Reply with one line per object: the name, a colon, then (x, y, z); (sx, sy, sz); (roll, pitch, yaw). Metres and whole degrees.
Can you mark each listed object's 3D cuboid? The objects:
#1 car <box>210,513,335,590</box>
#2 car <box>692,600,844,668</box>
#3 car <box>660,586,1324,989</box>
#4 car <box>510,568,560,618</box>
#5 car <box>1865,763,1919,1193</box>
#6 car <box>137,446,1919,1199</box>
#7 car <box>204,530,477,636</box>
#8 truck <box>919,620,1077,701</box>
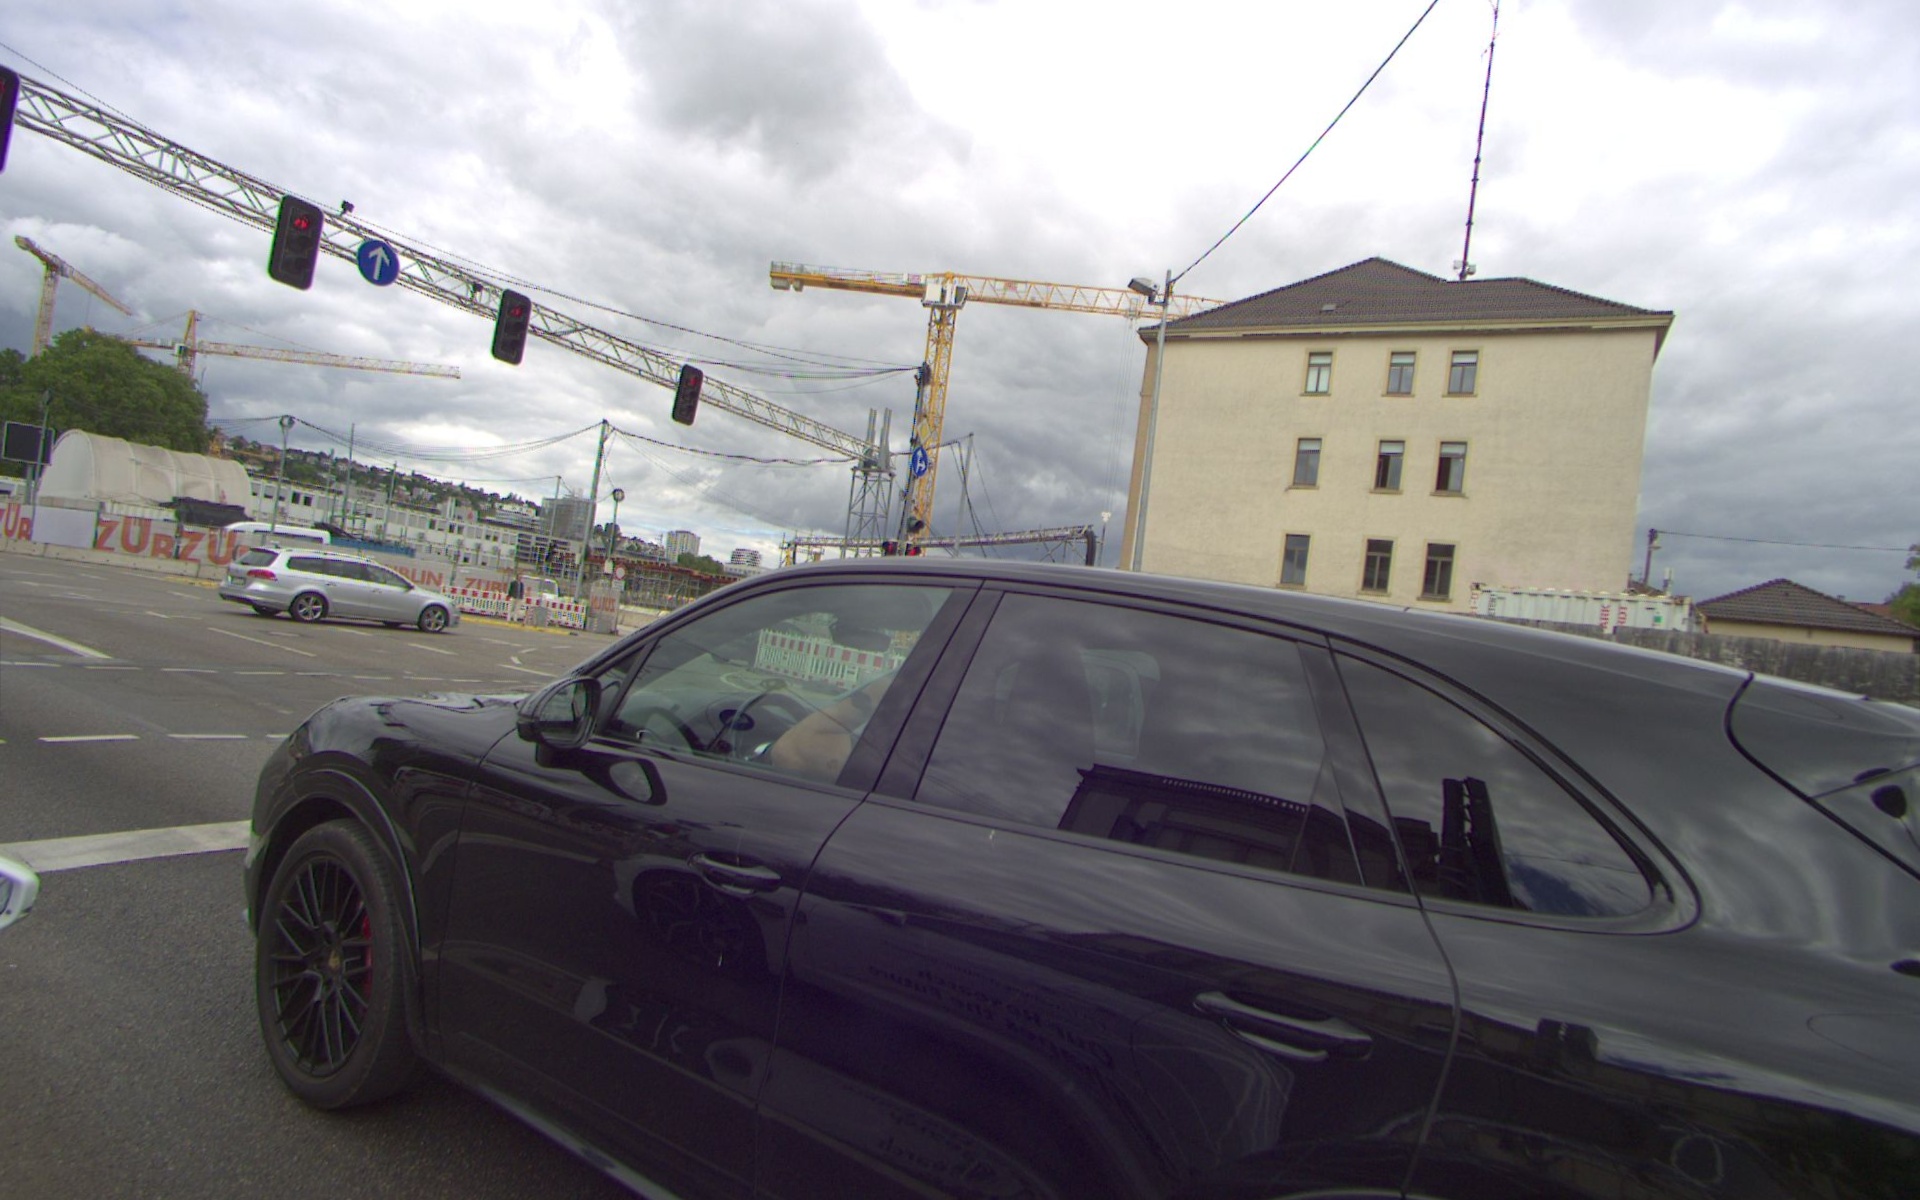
car: (-29.576, -2.045, 43.373); (1.660, 2.692, 3.979); (6, -2, 45)
car: (-6.168, 1.168, 32.900); (1.988, 1.643, 4.816); (6, -2, 33)
car: (0.110, 0.983, 6.666); (3.934, 1.644, 1.679); (6, -2, 32)
car: (-19.166, -0.326, 45.300); (1.757, 1.976, 3.108); (8, -2, -25)
car: (5.761, 1.685, 2.572); (4.729, 1.644, 1.828); (6, -2, 32)
car: (-0.053, 0.686, 2.668); (4.410, 1.735, 1.828); (6, -2, 32)
car: (-13.272, -0.281, 21.907); (1.653, 1.643, 4.722); (6, -2, 30)
truck: (1.985, 2.891, 45.998); (2.585, 2.835, 8.995); (7, -2, 34)
